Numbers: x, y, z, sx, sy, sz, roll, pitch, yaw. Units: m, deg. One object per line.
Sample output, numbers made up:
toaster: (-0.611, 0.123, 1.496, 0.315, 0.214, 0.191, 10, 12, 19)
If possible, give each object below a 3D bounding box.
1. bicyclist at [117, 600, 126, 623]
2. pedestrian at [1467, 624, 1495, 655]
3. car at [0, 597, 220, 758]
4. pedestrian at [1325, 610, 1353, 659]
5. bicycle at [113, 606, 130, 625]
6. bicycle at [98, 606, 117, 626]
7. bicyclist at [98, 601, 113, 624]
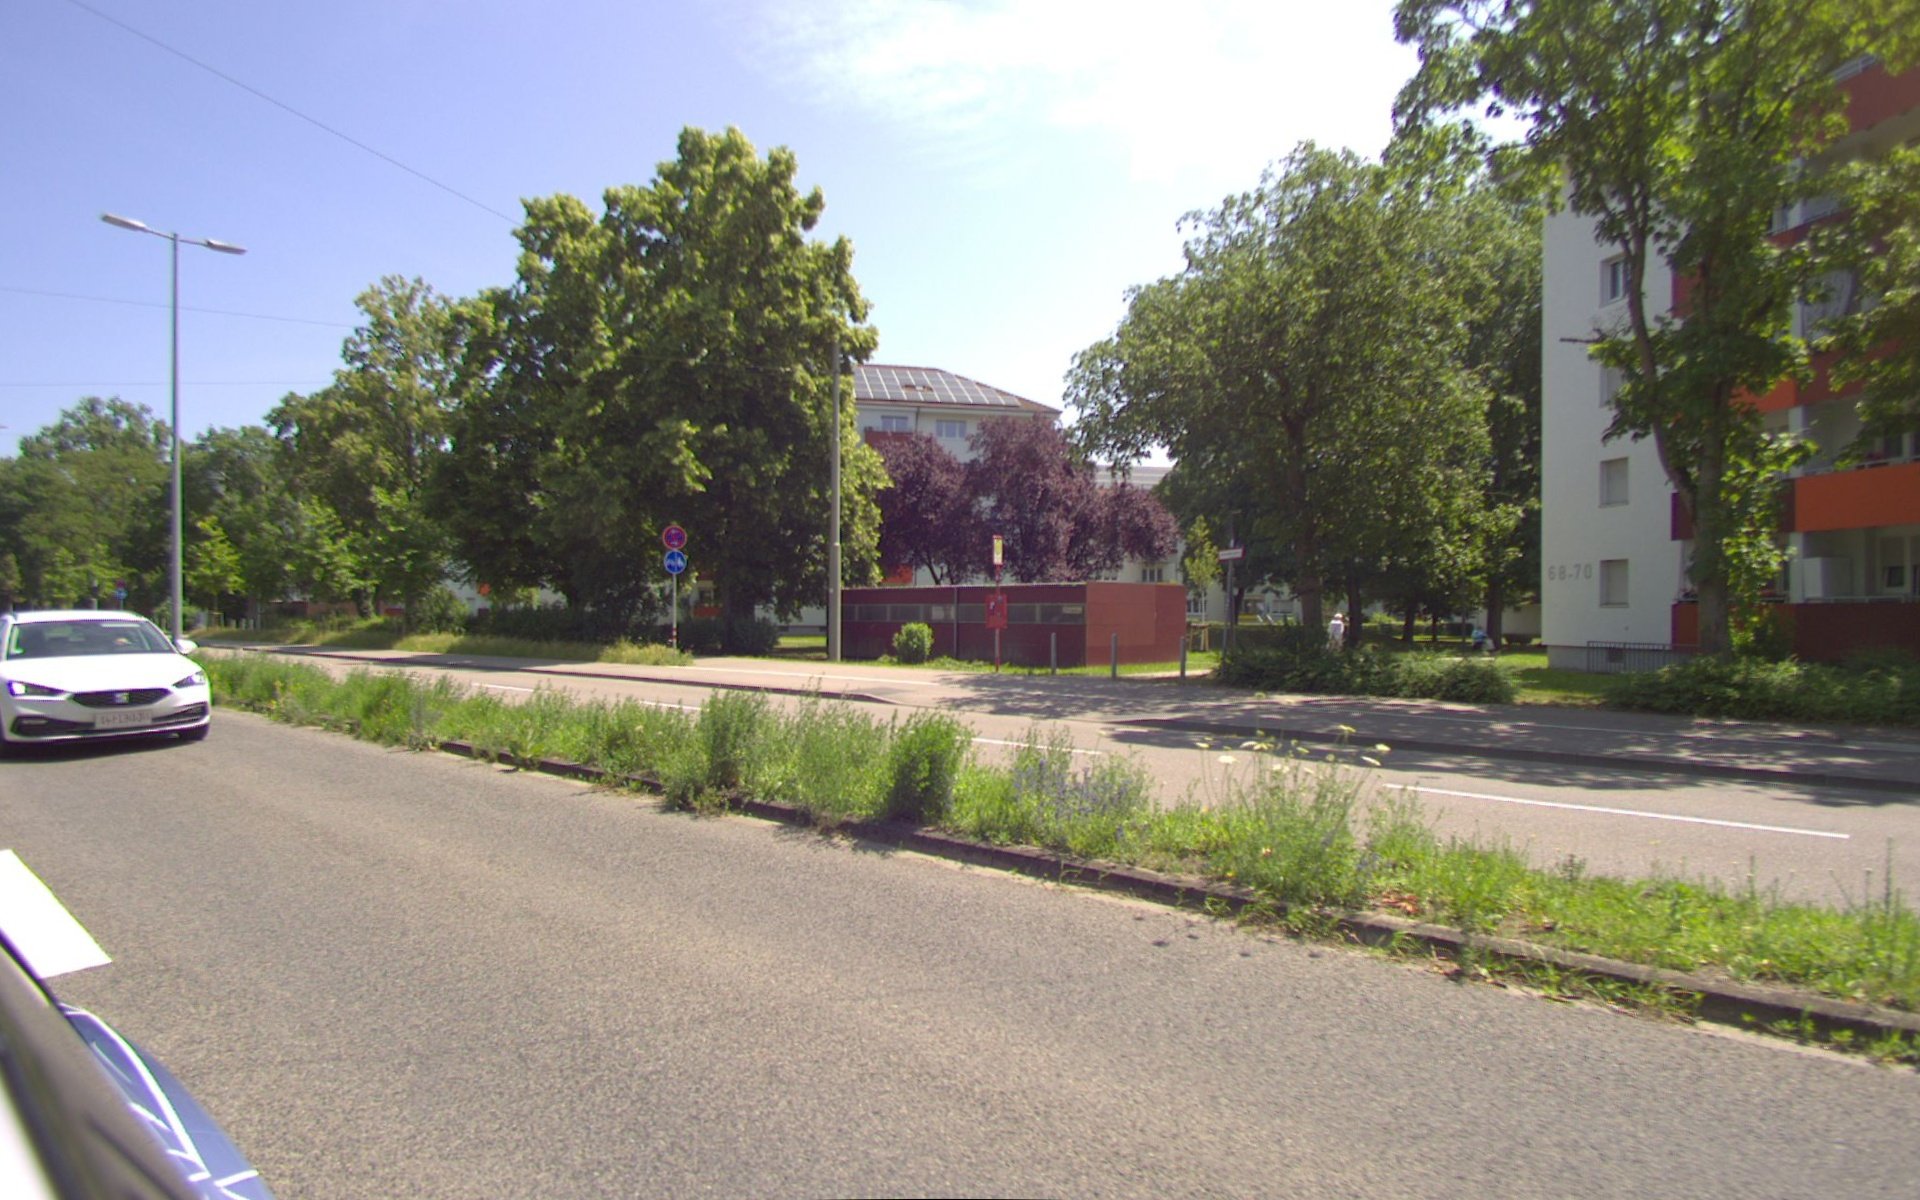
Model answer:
bicyclist: (-50.361, 0.684, 60.783, 0.440, 1.402, 0.354, -1, 1, 41)
pedestrian: (20.436, 1.536, 39.671, 0.397, 1.184, 0.900, 2, -2, -45)
car: (-9.960, 0.727, 11.347, 4.108, 1.479, 1.750, 0, 0, 40)
pedestrian: (11.518, 1.041, 30.739, 0.688, 1.442, 0.468, -1, -2, 42)
bicycle: (-50.358, 0.924, 60.792, 1.378, 1.102, 0.548, 1, 1, 40)
bicycle: (-50.594, 0.939, 60.059, 1.613, 1.141, 0.582, -1, -2, 39)
bicyclist: (-50.959, 0.741, 60.356, 0.754, 1.356, 0.539, -1, -2, 38)
